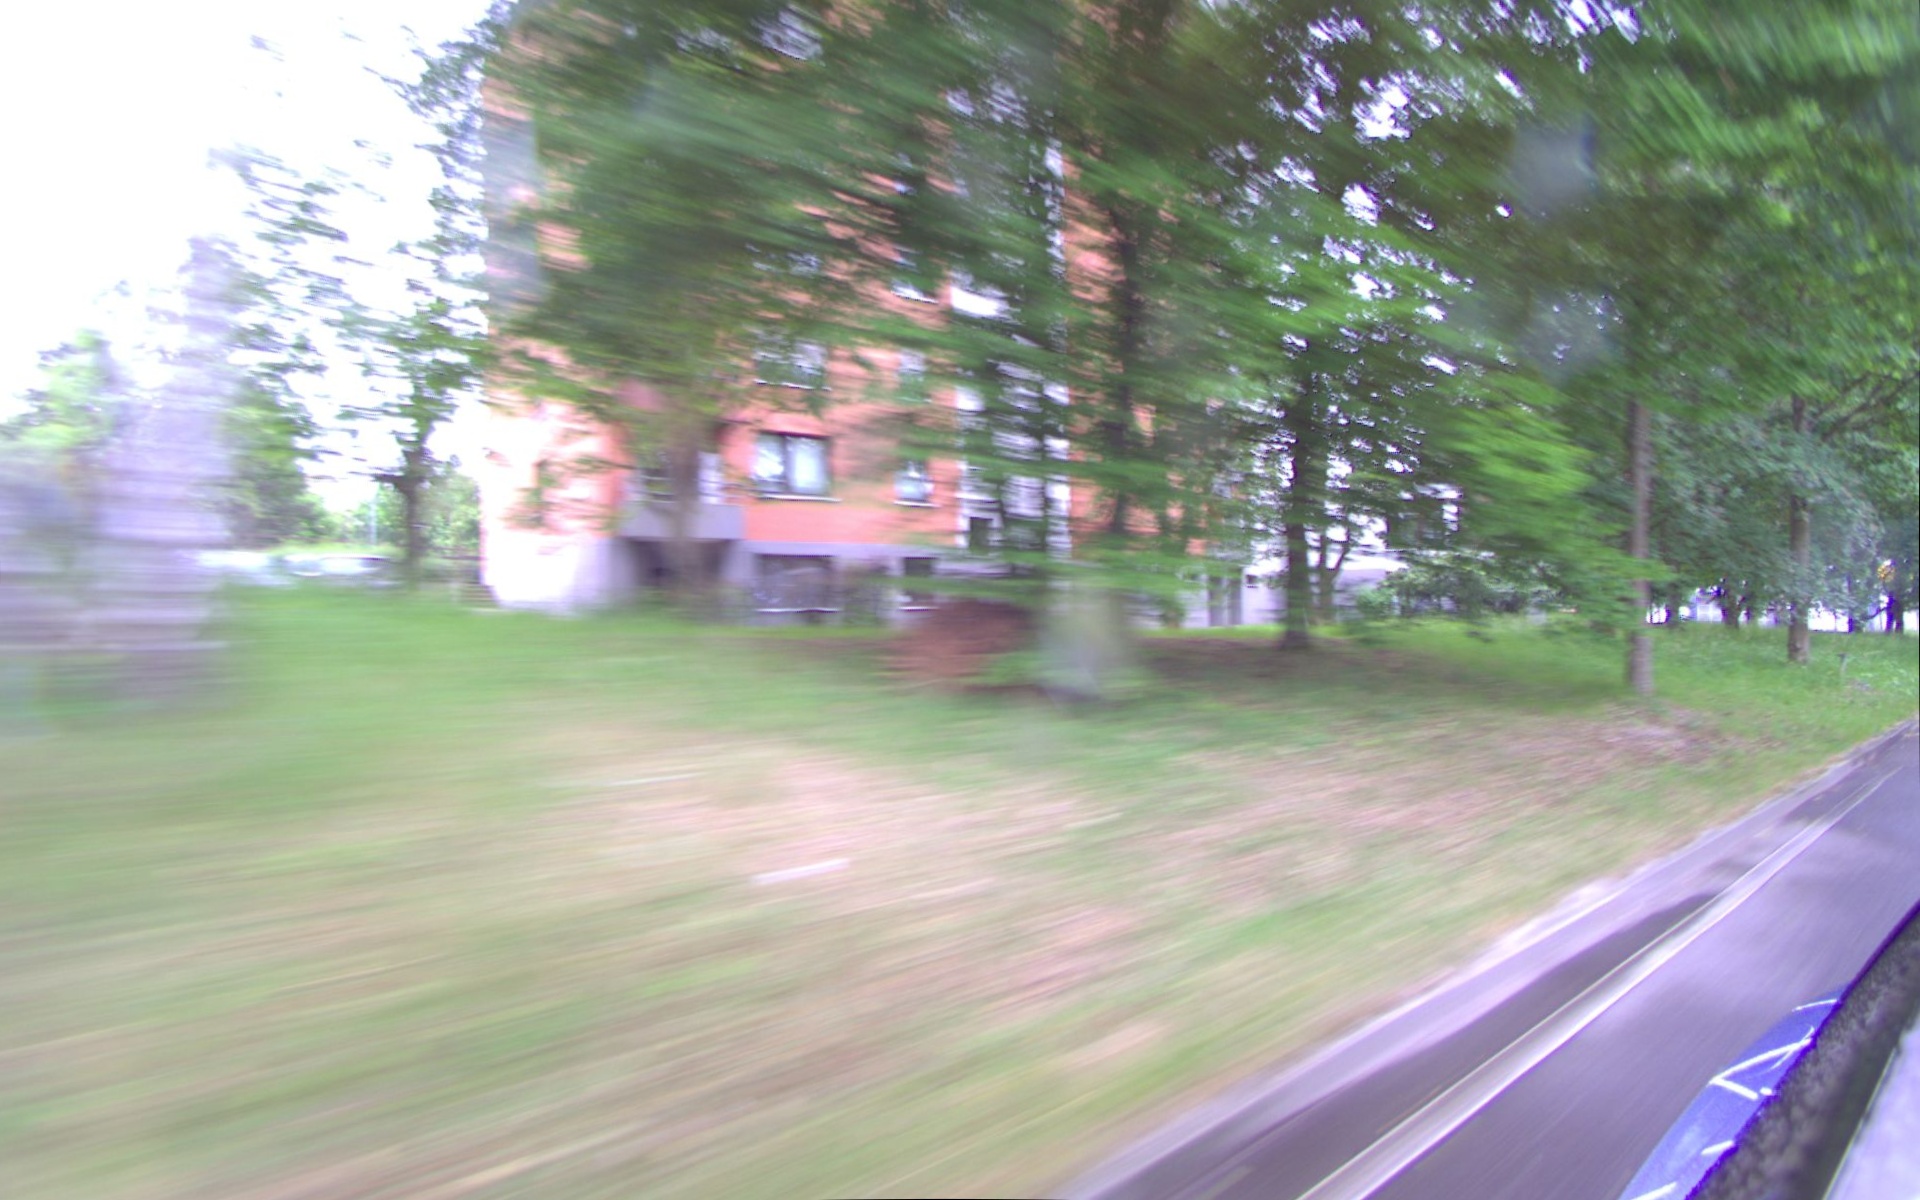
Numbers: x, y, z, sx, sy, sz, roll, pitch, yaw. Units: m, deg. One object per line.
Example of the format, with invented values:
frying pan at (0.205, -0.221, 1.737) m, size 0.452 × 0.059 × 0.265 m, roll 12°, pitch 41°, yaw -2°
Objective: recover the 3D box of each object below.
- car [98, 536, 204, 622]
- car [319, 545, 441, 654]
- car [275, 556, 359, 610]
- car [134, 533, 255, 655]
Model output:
car at (-21.117, -0.495, 26.566) m, size 1.962 × 2.039 × 3.998 m, roll 2°, pitch -1°, yaw -36°
car at (-12.037, 0.004, 20.893) m, size 1.590 × 2.039 × 3.737 m, roll 2°, pitch -2°, yaw -38°
car at (-18.471, -0.440, 28.997) m, size 1.719 × 1.411 × 3.998 m, roll 2°, pitch -1°, yaw -37°
car at (-14.313, -0.080, 18.857) m, size 1.590 × 2.039 × 3.737 m, roll 2°, pitch -2°, yaw -39°
